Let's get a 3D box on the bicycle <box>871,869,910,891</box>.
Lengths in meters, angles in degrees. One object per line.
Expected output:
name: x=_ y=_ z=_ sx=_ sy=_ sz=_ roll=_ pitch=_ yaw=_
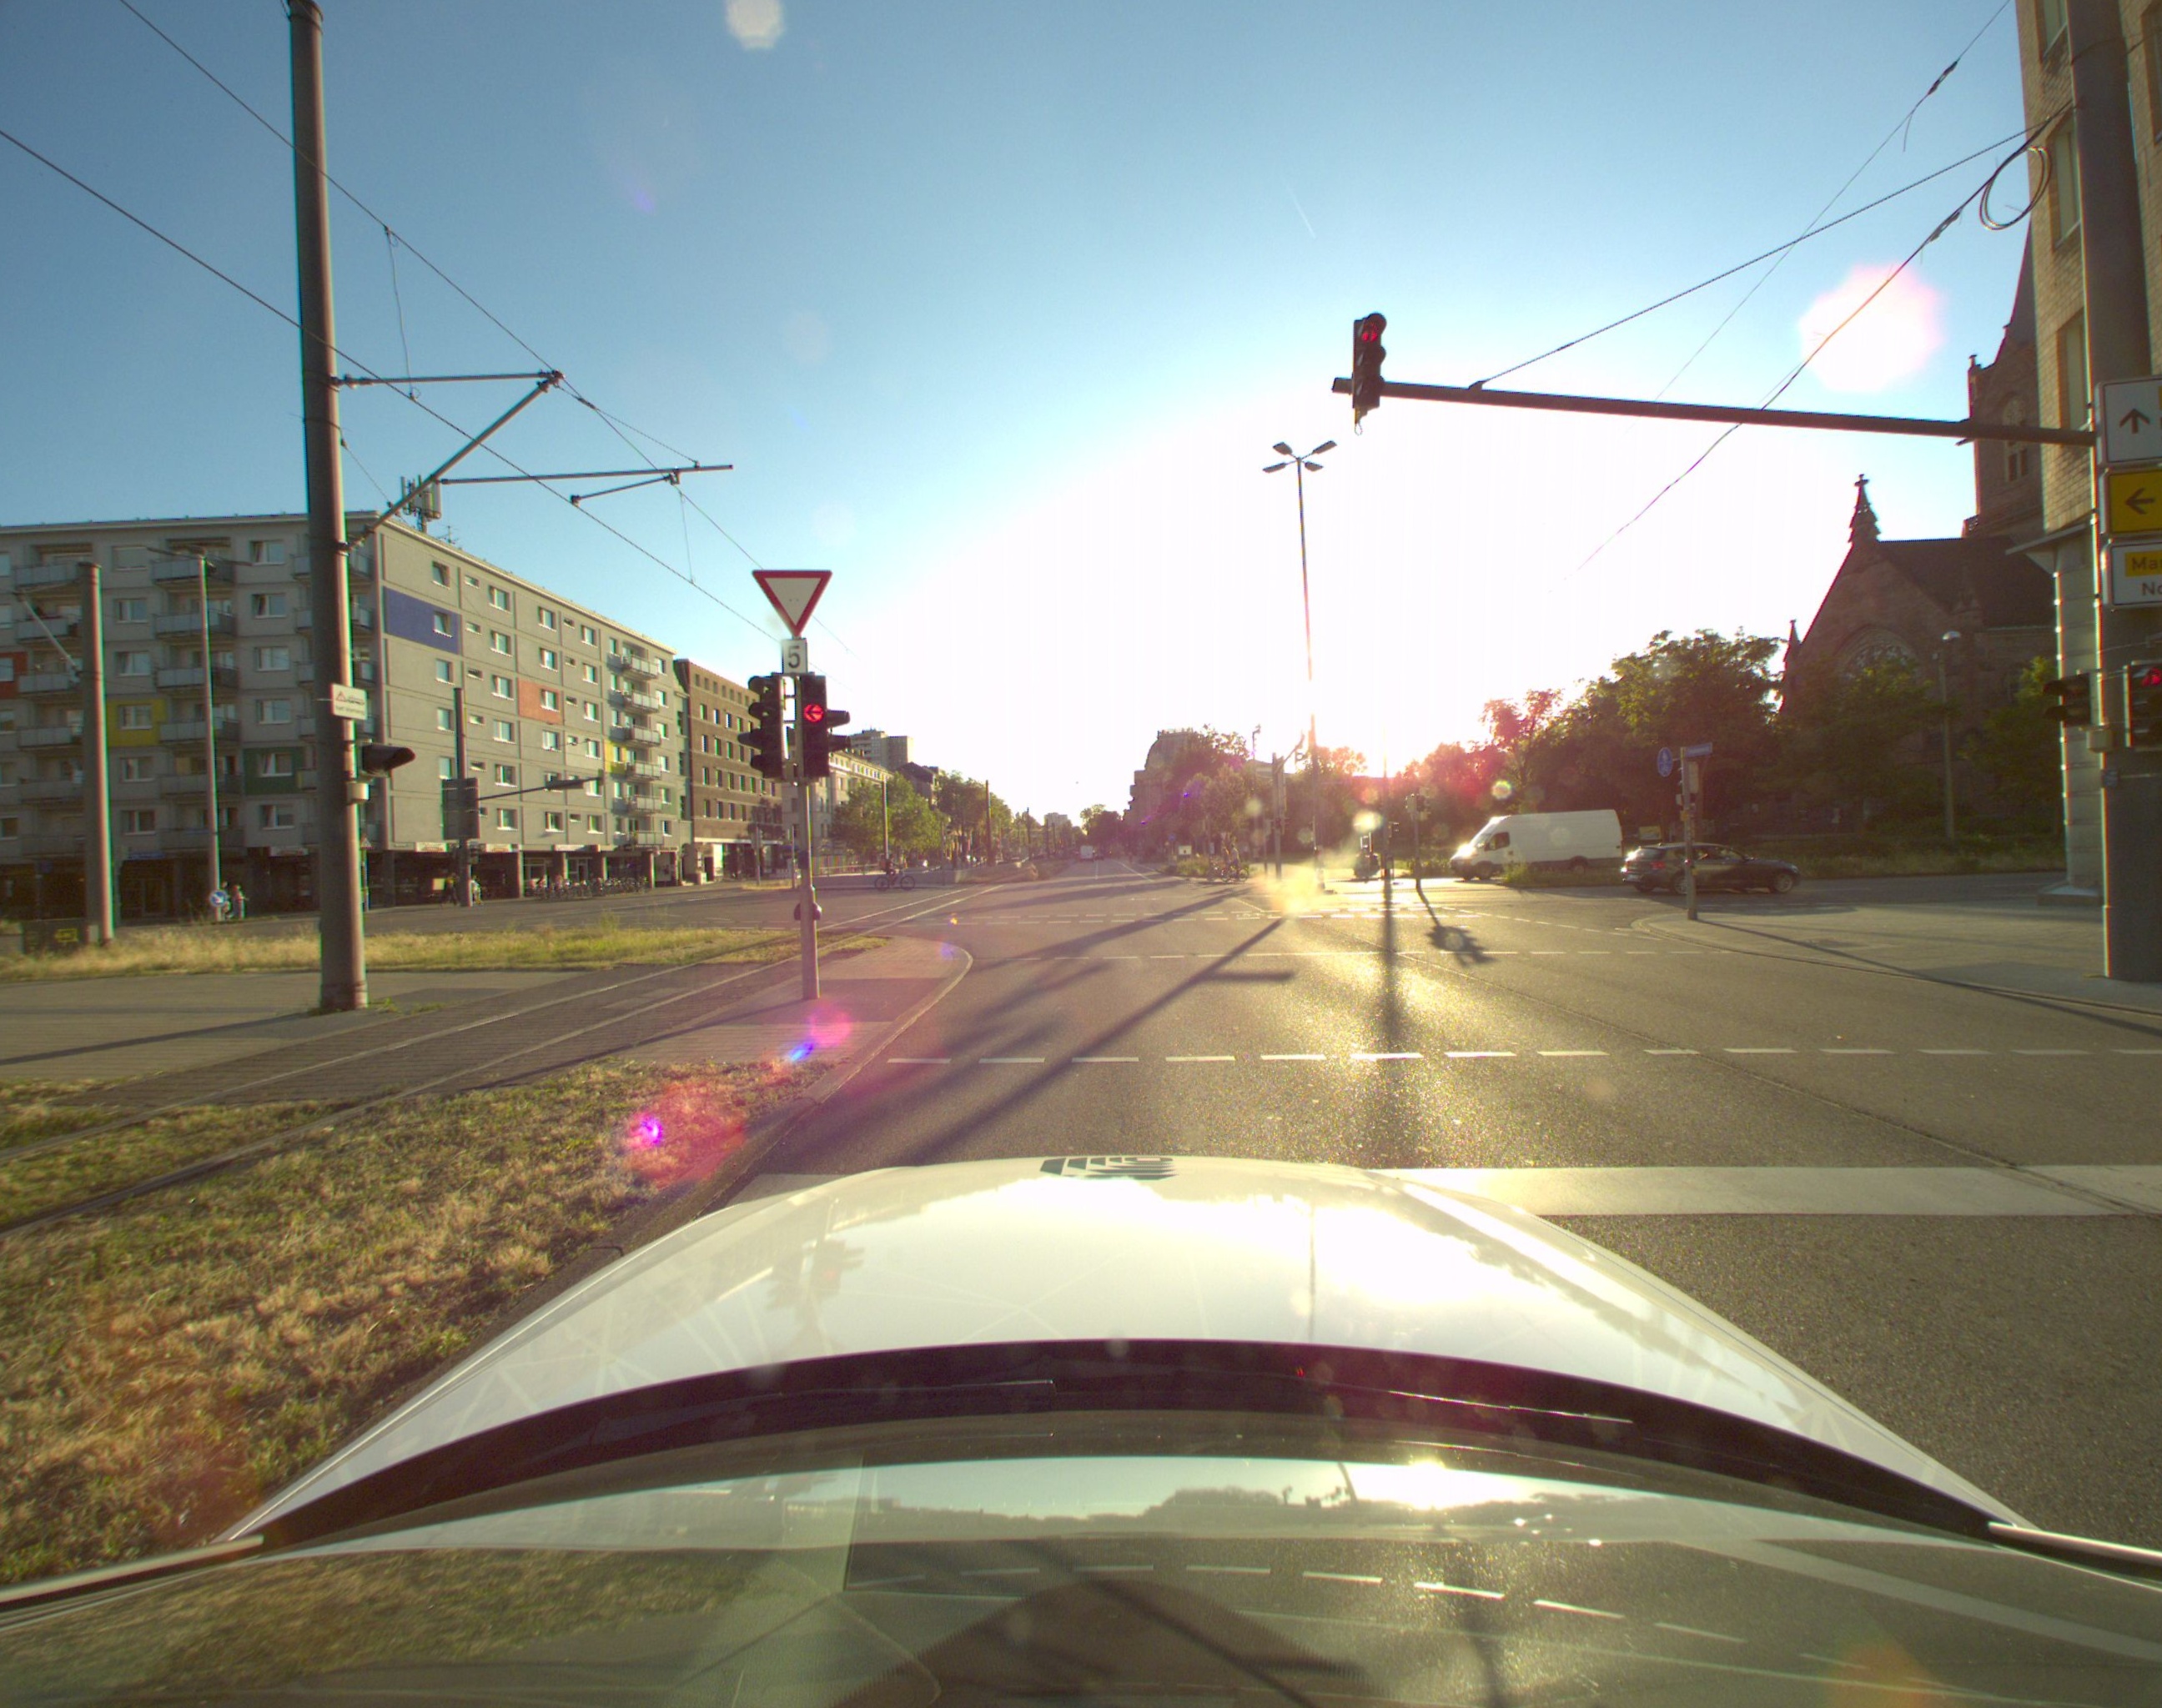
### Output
bicycle: x=-8.892 y=1.213 z=37.963 sx=1.732 sy=0.970 sz=0.700 roll=0 pitch=1 yaw=-17

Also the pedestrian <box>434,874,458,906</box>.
pedestrian: x=-34.590 y=1.930 z=44.358 sx=0.731 sy=1.669 sz=0.788 roll=-2 pitch=1 yaw=38

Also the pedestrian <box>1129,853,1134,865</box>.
pedestrian: x=6.389 y=0.596 z=103.463 sx=0.613 sy=1.475 sz=0.801 roll=-2 pitch=1 yaw=5

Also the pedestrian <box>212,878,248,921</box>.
pedestrian: x=-38.040 y=2.018 z=36.409 sx=0.600 sy=1.847 sz=0.822 roll=-2 pitch=1 yaw=1

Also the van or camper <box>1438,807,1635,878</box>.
van or camper: x=19.622 y=-0.498 z=35.411 sx=7.013 sy=2.674 sz=2.601 roll=-2 pitch=1 yaw=3

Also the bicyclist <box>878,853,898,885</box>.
bicyclist: x=-8.986 y=0.684 z=37.944 sx=0.855 sy=1.442 sz=0.659 roll=-1 pitch=1 yaw=-16

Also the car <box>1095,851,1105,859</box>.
car: x=3.482 y=0.129 z=151.418 sx=1.731 sy=1.385 sz=4.002 roll=-2 pitch=1 yaw=2

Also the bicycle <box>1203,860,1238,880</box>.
bicycle: x=7.337 y=0.842 z=42.789 sx=1.712 sy=0.970 sz=0.609 roll=-2 pitch=1 yaw=0

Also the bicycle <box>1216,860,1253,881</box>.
bicycle: x=7.684 y=0.831 z=40.858 sx=1.713 sy=0.970 sz=0.613 roll=-1 pitch=1 yaw=23

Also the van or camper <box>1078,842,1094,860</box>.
van or camper: x=0.755 y=-0.461 z=124.862 sx=2.254 sy=2.624 sz=4.505 roll=-2 pitch=1 yaw=2

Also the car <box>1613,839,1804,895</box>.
car: x=17.523 y=0.340 z=22.902 sx=3.966 sy=1.434 sz=1.722 roll=-1 pitch=1 yaw=6

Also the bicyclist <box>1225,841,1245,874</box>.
bicyclist: x=7.720 y=0.168 z=40.817 sx=0.790 sy=1.571 sz=0.667 roll=-2 pitch=1 yaw=22

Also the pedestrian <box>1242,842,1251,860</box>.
pedestrian: x=15.299 y=-0.275 z=75.403 sx=0.679 sy=1.611 sz=0.613 roll=-2 pitch=1 yaw=1

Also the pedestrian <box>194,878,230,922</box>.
pedestrian: x=-38.858 y=2.046 z=36.434 sx=0.702 sy=1.851 sz=0.737 roll=-2 pitch=1 yaw=1

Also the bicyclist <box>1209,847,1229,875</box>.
bicyclist: x=7.250 y=0.352 z=42.782 sx=0.851 sy=1.442 sz=0.663 roll=-2 pitch=1 yaw=0
